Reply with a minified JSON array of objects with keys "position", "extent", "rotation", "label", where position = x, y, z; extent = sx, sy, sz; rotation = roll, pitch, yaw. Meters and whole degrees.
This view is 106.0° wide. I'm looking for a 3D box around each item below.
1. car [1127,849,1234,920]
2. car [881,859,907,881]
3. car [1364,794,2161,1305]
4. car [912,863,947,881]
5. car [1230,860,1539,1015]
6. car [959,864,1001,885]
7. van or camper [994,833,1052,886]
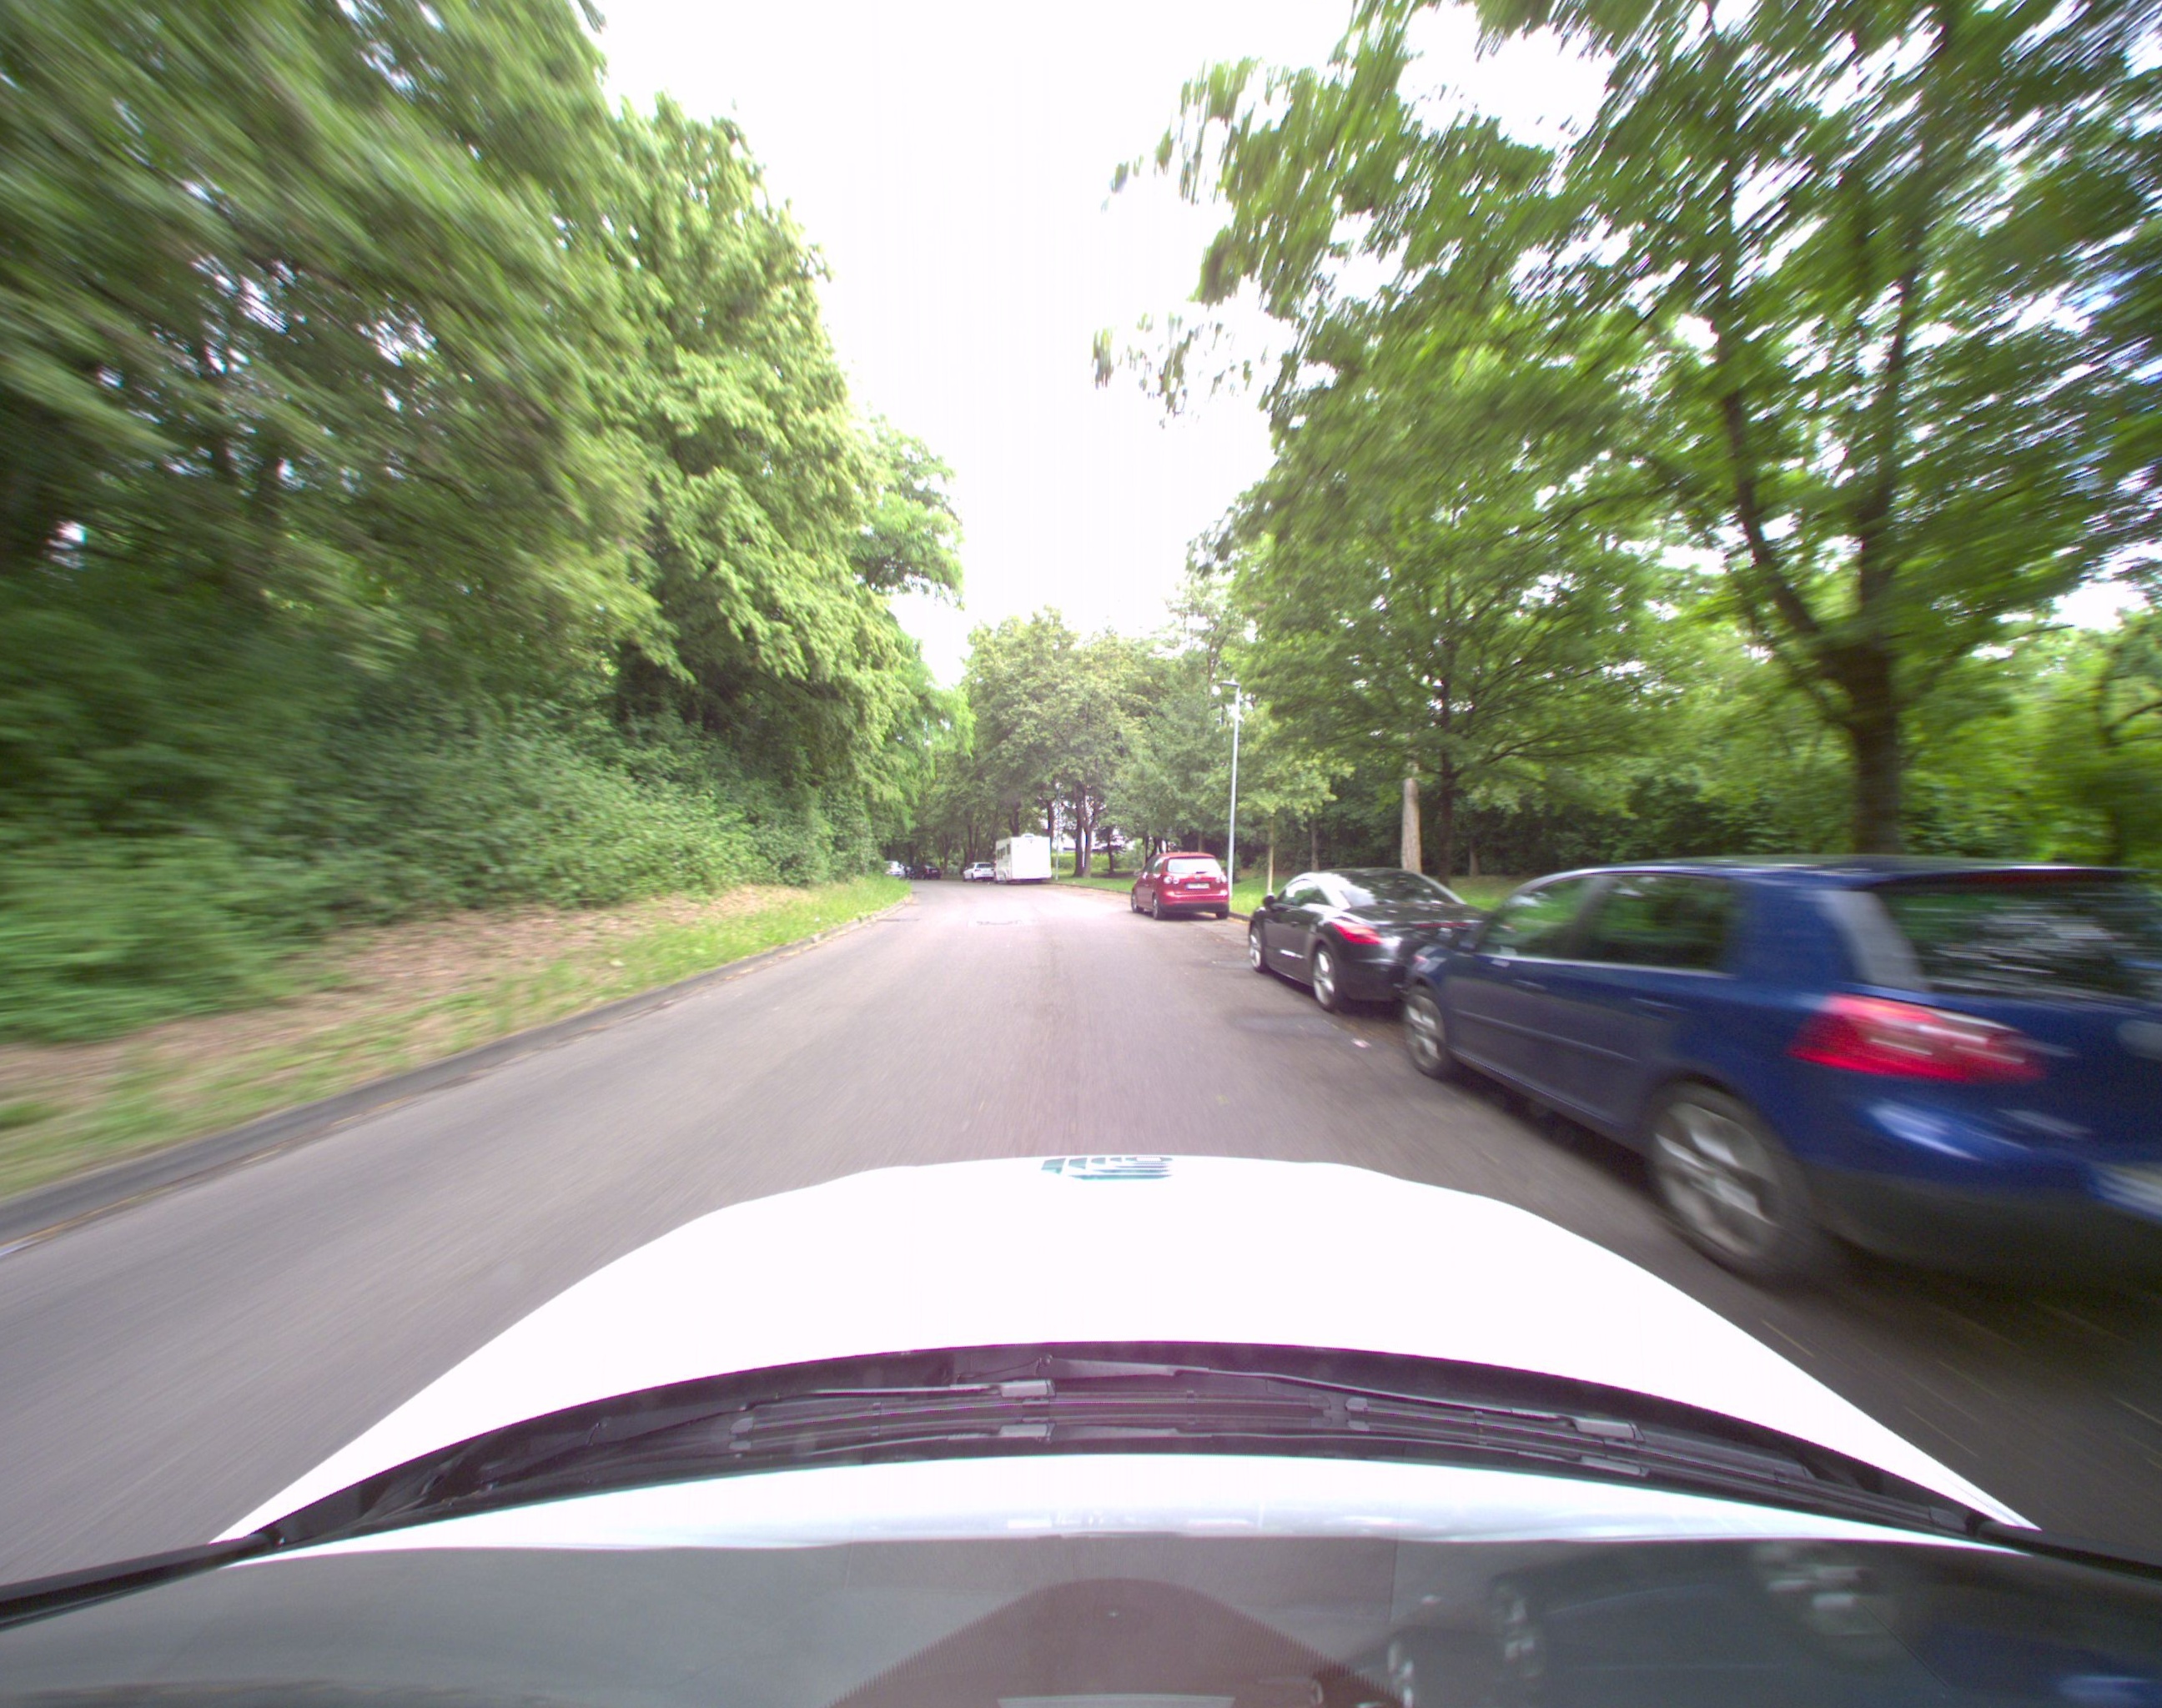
[{"position":[2.341,0.702,20.228],"extent":[1.737,1.562,3.990],"rotation":[0,-1,-7],"label":"car"},{"position":[-15.175,1.260,65.864],"extent":[1.861,1.664,4.547],"rotation":[-2,0,-15],"label":"car"},{"position":[3.161,0.622,4.554],"extent":[1.708,1.510,4.181],"rotation":[2,-1,1],"label":"car"},{"position":[-14.430,1.705,77.265],"extent":[2.006,1.501,3.962],"rotation":[2,-1,-30],"label":"car"},{"position":[3.069,0.750,9.323],"extent":[1.746,1.337,4.411],"rotation":[0,0,-3],"label":"car"},{"position":[-7.753,1.539,62.146],"extent":[2.003,1.473,3.967],"rotation":[2,-1,-25],"label":"car"},{"position":[-3.614,0.295,49.649],"extent":[2.435,3.007,5.178],"rotation":[-1,0,-17],"label":"van or camper"}]
